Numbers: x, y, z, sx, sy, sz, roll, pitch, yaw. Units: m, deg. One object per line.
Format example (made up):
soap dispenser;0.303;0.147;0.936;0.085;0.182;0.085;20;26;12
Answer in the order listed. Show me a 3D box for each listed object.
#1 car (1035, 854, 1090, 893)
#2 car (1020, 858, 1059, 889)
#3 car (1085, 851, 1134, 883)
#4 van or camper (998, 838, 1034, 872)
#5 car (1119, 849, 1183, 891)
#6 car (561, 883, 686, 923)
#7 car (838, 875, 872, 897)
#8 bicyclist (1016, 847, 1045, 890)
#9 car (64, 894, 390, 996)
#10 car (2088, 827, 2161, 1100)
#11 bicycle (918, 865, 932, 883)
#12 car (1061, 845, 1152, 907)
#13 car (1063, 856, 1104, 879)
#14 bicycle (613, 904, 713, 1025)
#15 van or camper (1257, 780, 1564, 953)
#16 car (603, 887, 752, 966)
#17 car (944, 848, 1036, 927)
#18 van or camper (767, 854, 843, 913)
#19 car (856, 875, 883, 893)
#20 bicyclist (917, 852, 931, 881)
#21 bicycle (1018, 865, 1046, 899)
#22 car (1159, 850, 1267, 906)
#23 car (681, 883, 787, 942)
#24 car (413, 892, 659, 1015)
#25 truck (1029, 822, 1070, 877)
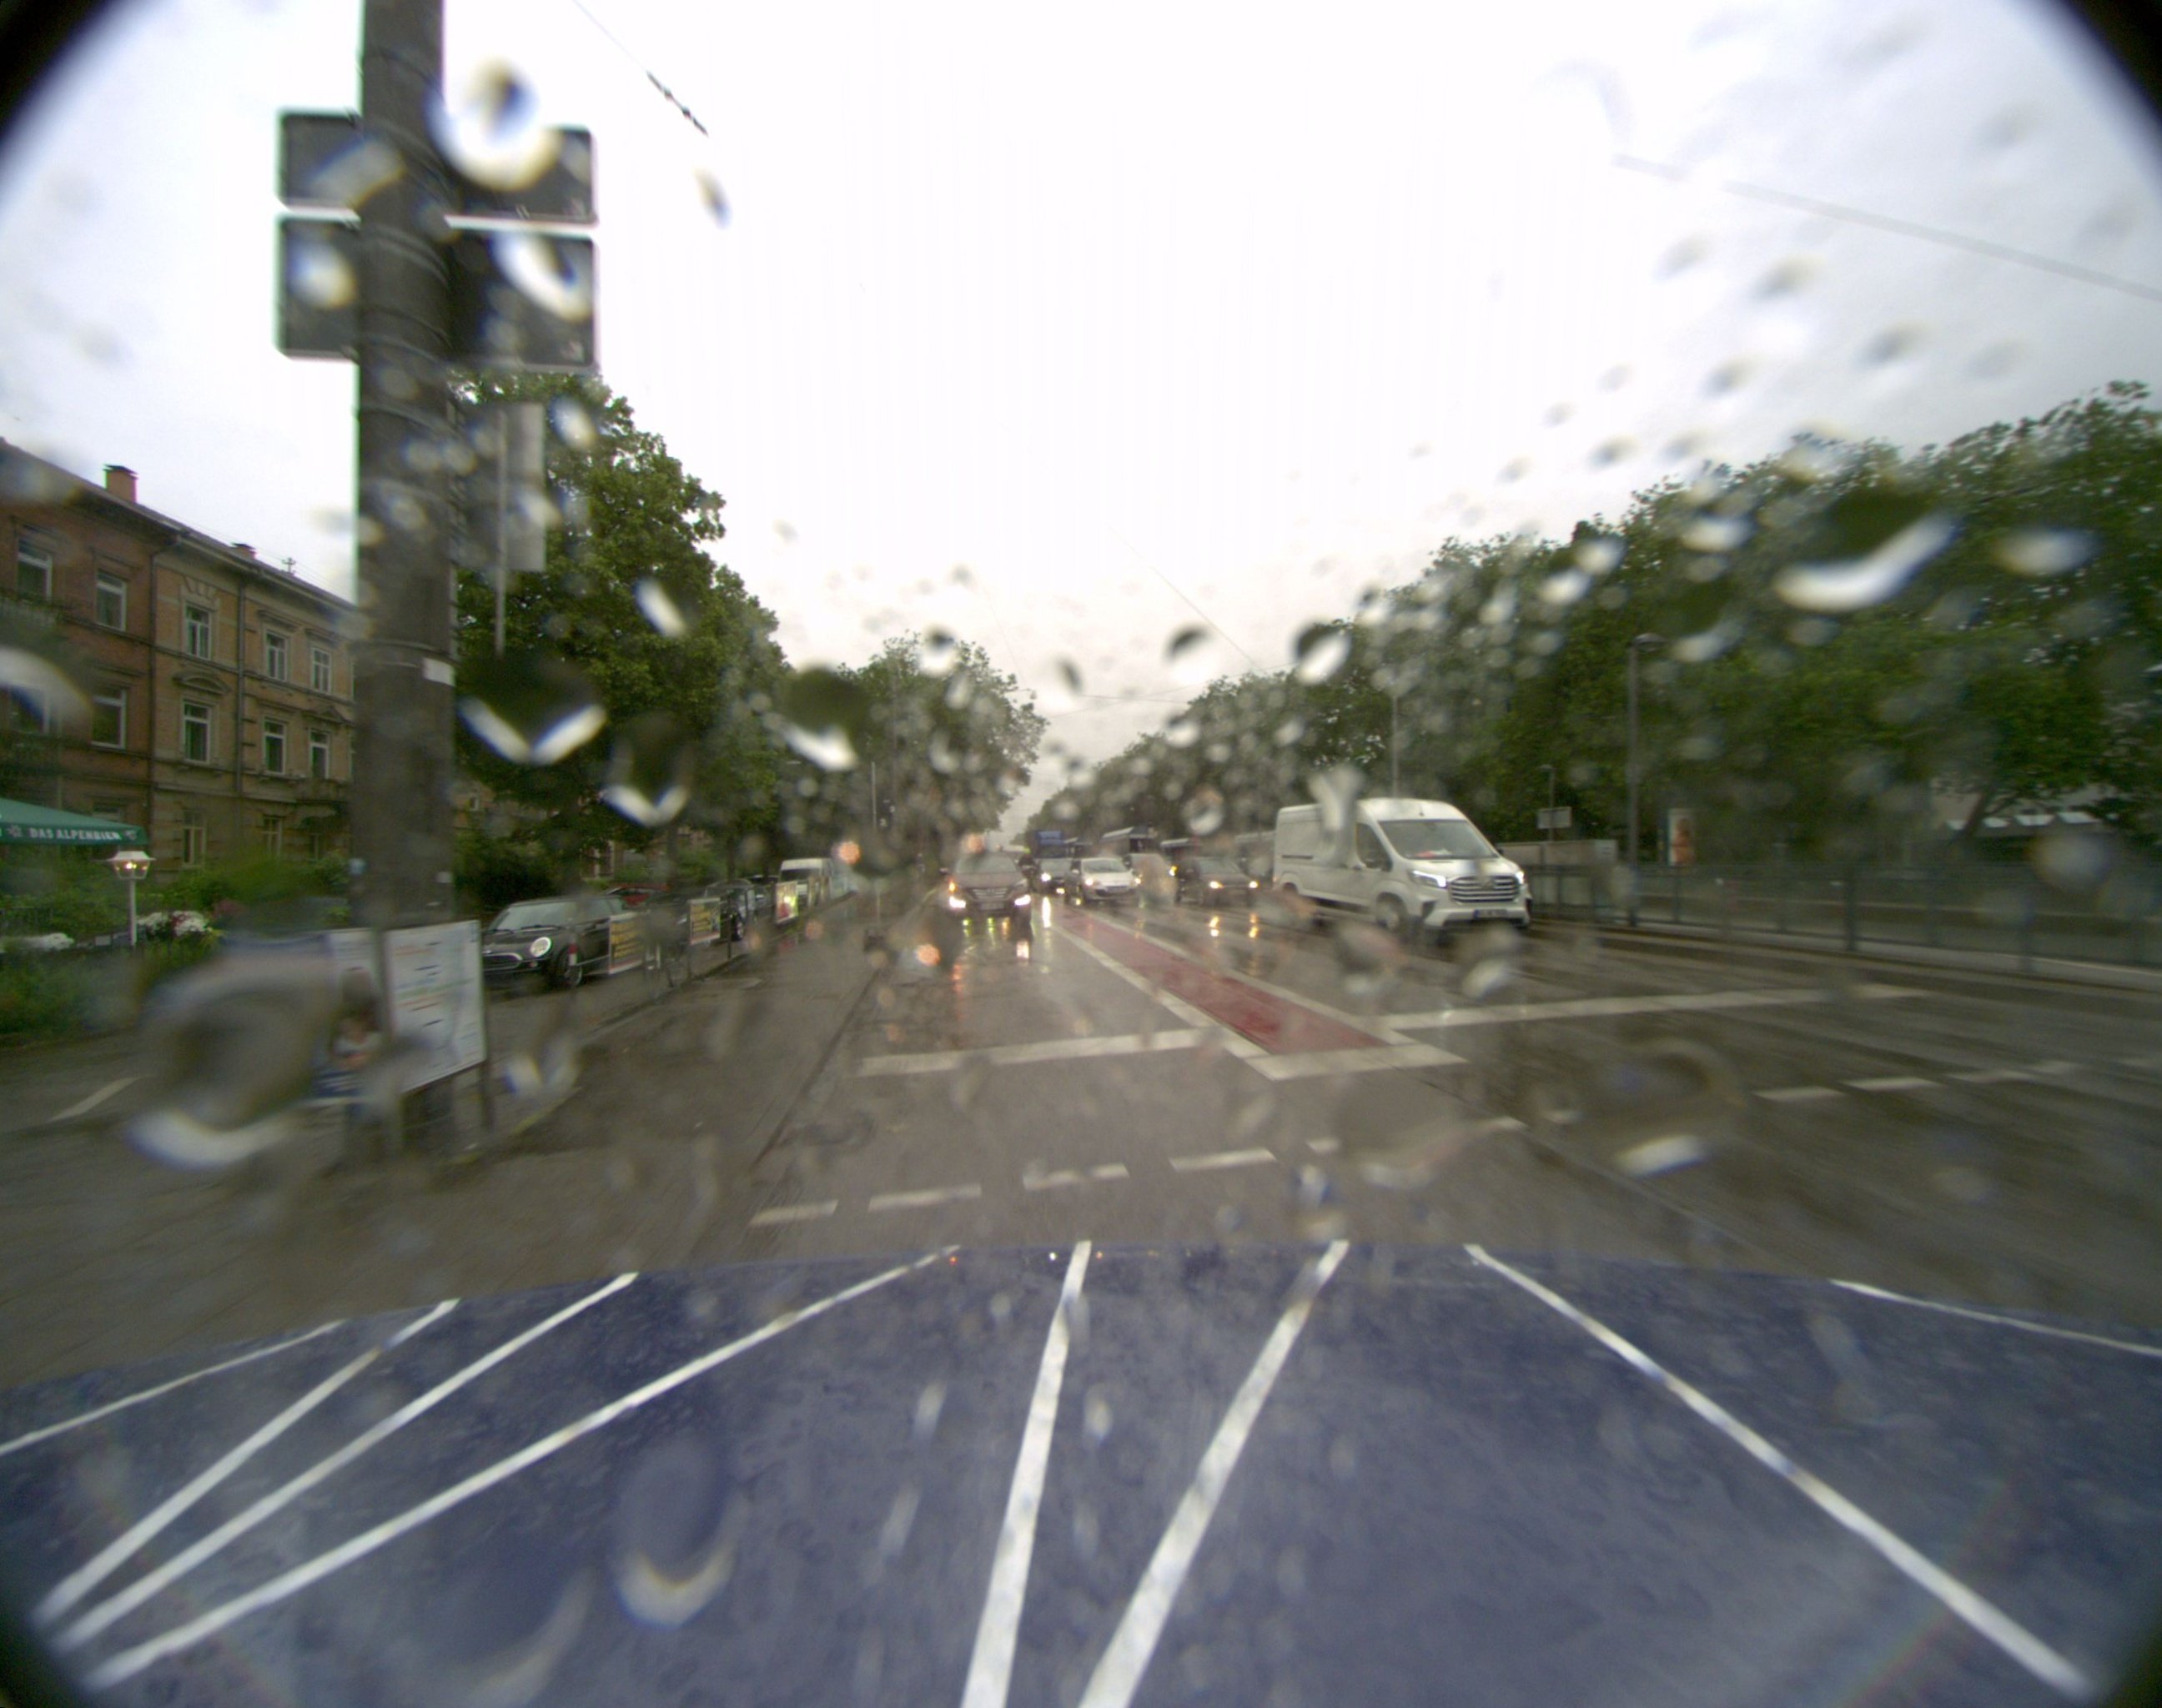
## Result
car;-0.899;0.833;33.410;1.914;1.540;4.664;-2;-1;-7
car;-2.453;1.128;43.678;1.914;1.636;4.189;-2;-2;-7
car;1.559;0.733;43.026;1.914;1.637;4.188;-1;-1;-10
van or camper;-5.164;0.115;59.632;2.145;2.484;5.708;-1;-1;-11
car;2.940;0.692;32.764;1.849;1.625;4.245;-2;-1;-7
car;-19.311;2.033;32.181;4.296;1.461;1.705;0;-1;-41
car;-15.695;2.188;52.909;1.705;1.363;3.997;-2;0;-9
bicyclist;-1.786;0.500;26.916;0.927;1.461;0.805;-2;1;1
car;-16.231;1.635;14.773;1.856;1.499;4.008;-2;-1;44
car;7.333;0.587;2.751;1.807;1.577;4.071;-1;-1;-7
bicycle;-9.143;1.155;44.382;0.740;1.066;1.864;0;-1;-13
car;0.684;0.663;23.970;1.977;1.731;4.264;-1;-1;-10
car;0.127;0.888;49.390;1.914;1.399;4.188;-1;-1;-10
bicycle;-4.834;1.222;8.891;0.423;1.161;1.791;-3;0;-10
van or camper;5.484;0.209;13.918;2.182;2.456;5.966;-1;-1;-10
car;-9.139;1.567;17.632;1.752;1.454;4.213;-1;-1;-9
car;-2.289;0.758;18.547;1.914;1.637;4.677;-1;-1;-9
van or camper;-13.201;1.373;36.766;2.334;2.575;6.093;-1;-1;-10
car;-18.006;2.563;64.800;1.810;1.446;3.997;-1;-1;-9
bicyclist;-9.179;0.723;44.470;0.738;1.646;0.876;0;-1;-14
bicycle;-1.723;0.980;26.937;0.818;1.082;1.998;-2;1;0
car;3.894;0.699;23.219;1.787;1.504;4.553;-1;-1;-10
car;-10.176;1.648;22.623;1.732;1.461;4.213;-2;-1;-9
car;-8.407;1.442;12.135;1.652;1.491;3.515;-2;-1;-7
truck;-2.816;-0.288;64.609;2.419;4.251;8.347;-2;-1;-9
